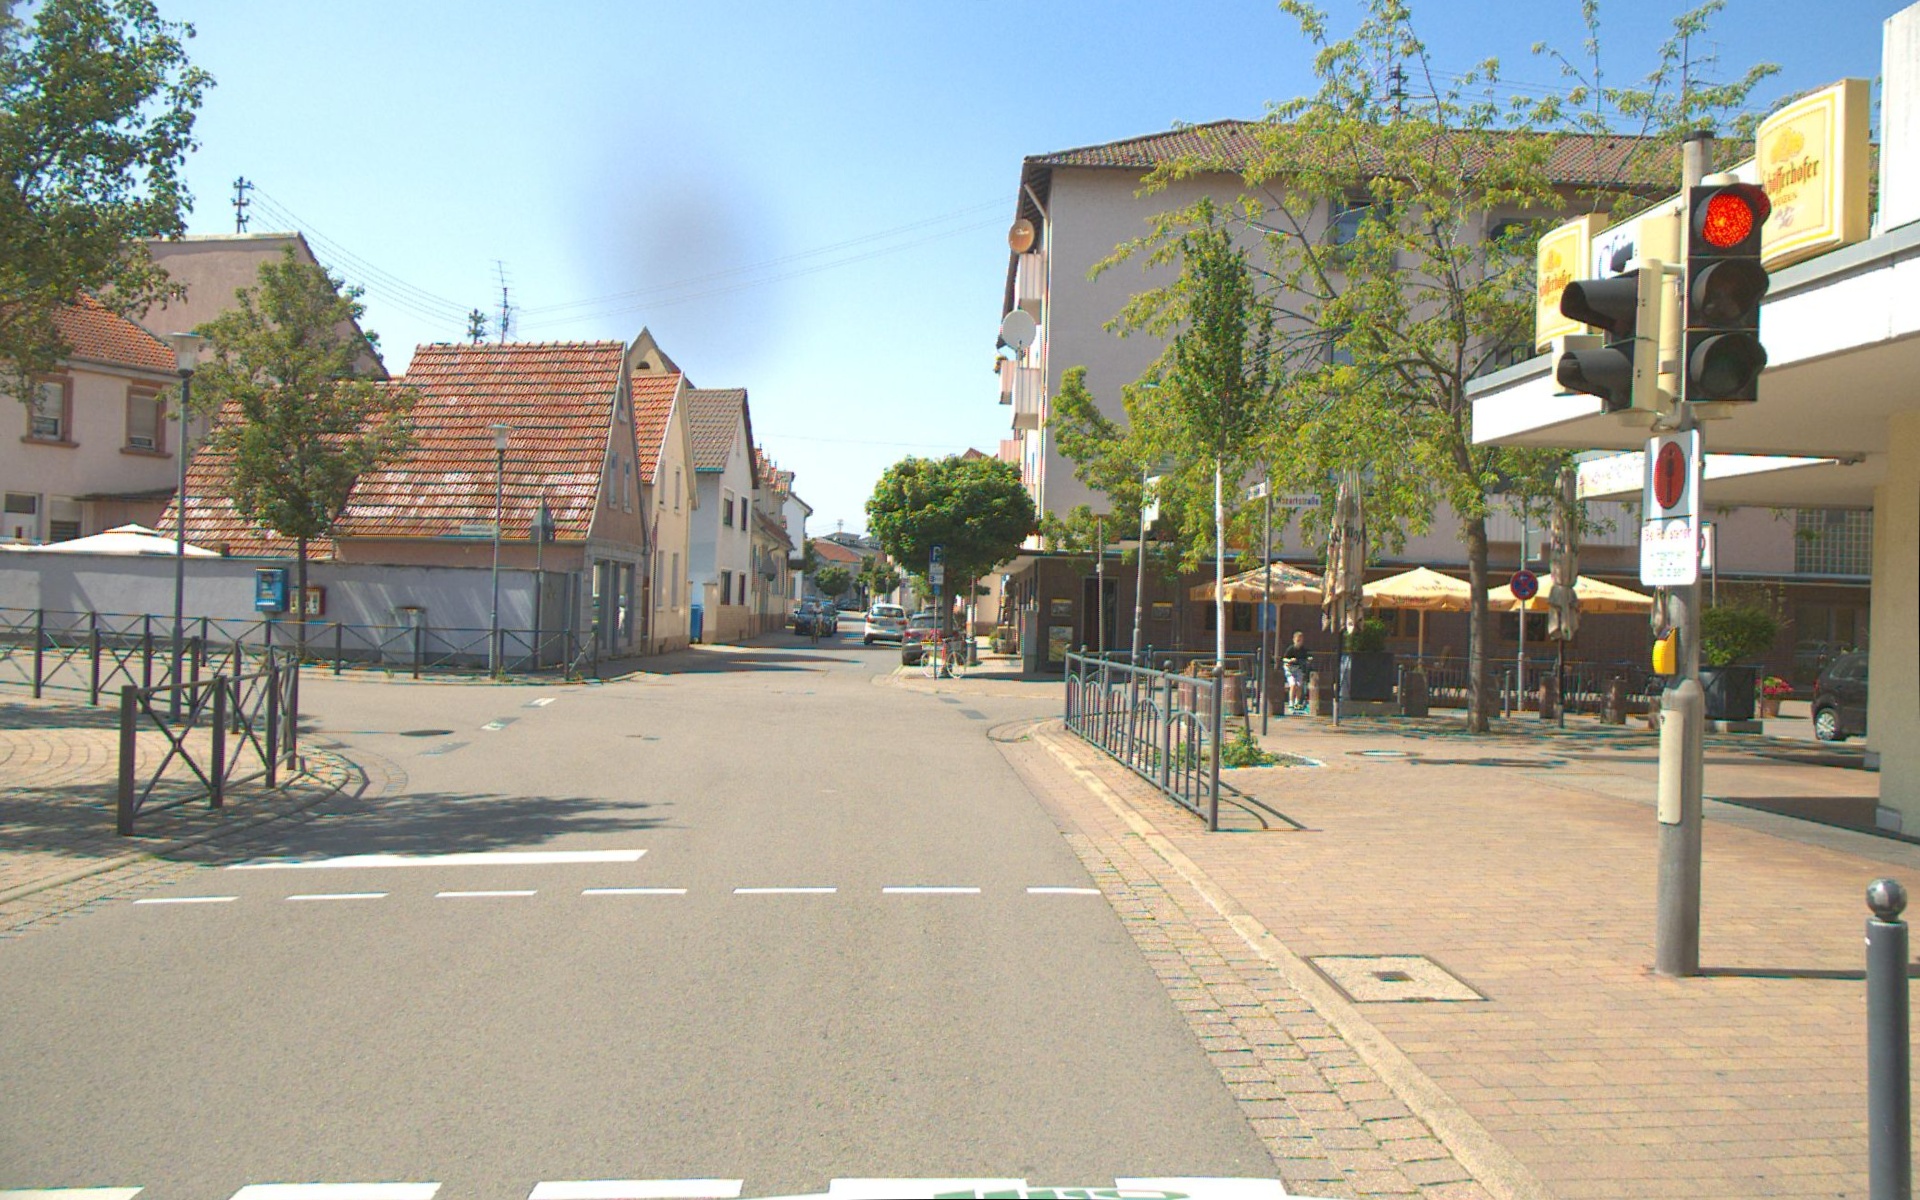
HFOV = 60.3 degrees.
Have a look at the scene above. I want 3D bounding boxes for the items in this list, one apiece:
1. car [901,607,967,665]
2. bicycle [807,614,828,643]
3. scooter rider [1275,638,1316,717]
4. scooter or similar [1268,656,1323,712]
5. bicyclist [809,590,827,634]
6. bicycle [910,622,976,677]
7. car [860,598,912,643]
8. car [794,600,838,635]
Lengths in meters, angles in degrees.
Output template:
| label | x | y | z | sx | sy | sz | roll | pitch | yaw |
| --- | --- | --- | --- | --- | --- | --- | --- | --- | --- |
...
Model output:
| label | x | y | z | sx | sy | sz | roll | pitch | yaw |
| --- | --- | --- | --- | --- | --- | --- | --- | --- | --- |
| car | -0.708 | 0.992 | 47.374 | 1.768 | 1.528 | 4.000 | 2 | 0 | 0 |
| bicycle | -5.565 | 1.105 | 64.571 | 0.660 | 1.113 | 1.895 | 0 | 0 | -1 |
| scooter rider | 5.640 | 1.295 | 27.821 | 0.512 | 1.308 | 0.413 | 2 | -1 | -35 |
| scooter or similar | 5.644 | 1.407 | 27.808 | 0.376 | 0.889 | 0.879 | 2 | -1 | -35 |
| bicyclist | -5.549 | 0.469 | 64.575 | 0.655 | 1.720 | 0.761 | 1 | -1 | -1 |
| bicycle | -0.414 | 1.143 | 38.605 | 0.523 | 1.214 | 1.648 | 2 | -1 | -44 |
| car | -2.934 | 0.807 | 66.080 | 1.796 | 1.681 | 4.000 | 1 | 0 | 0 |
| car | -6.788 | 0.814 | 78.060 | 1.679 | 1.543 | 3.786 | 2 | 0 | 0 |
